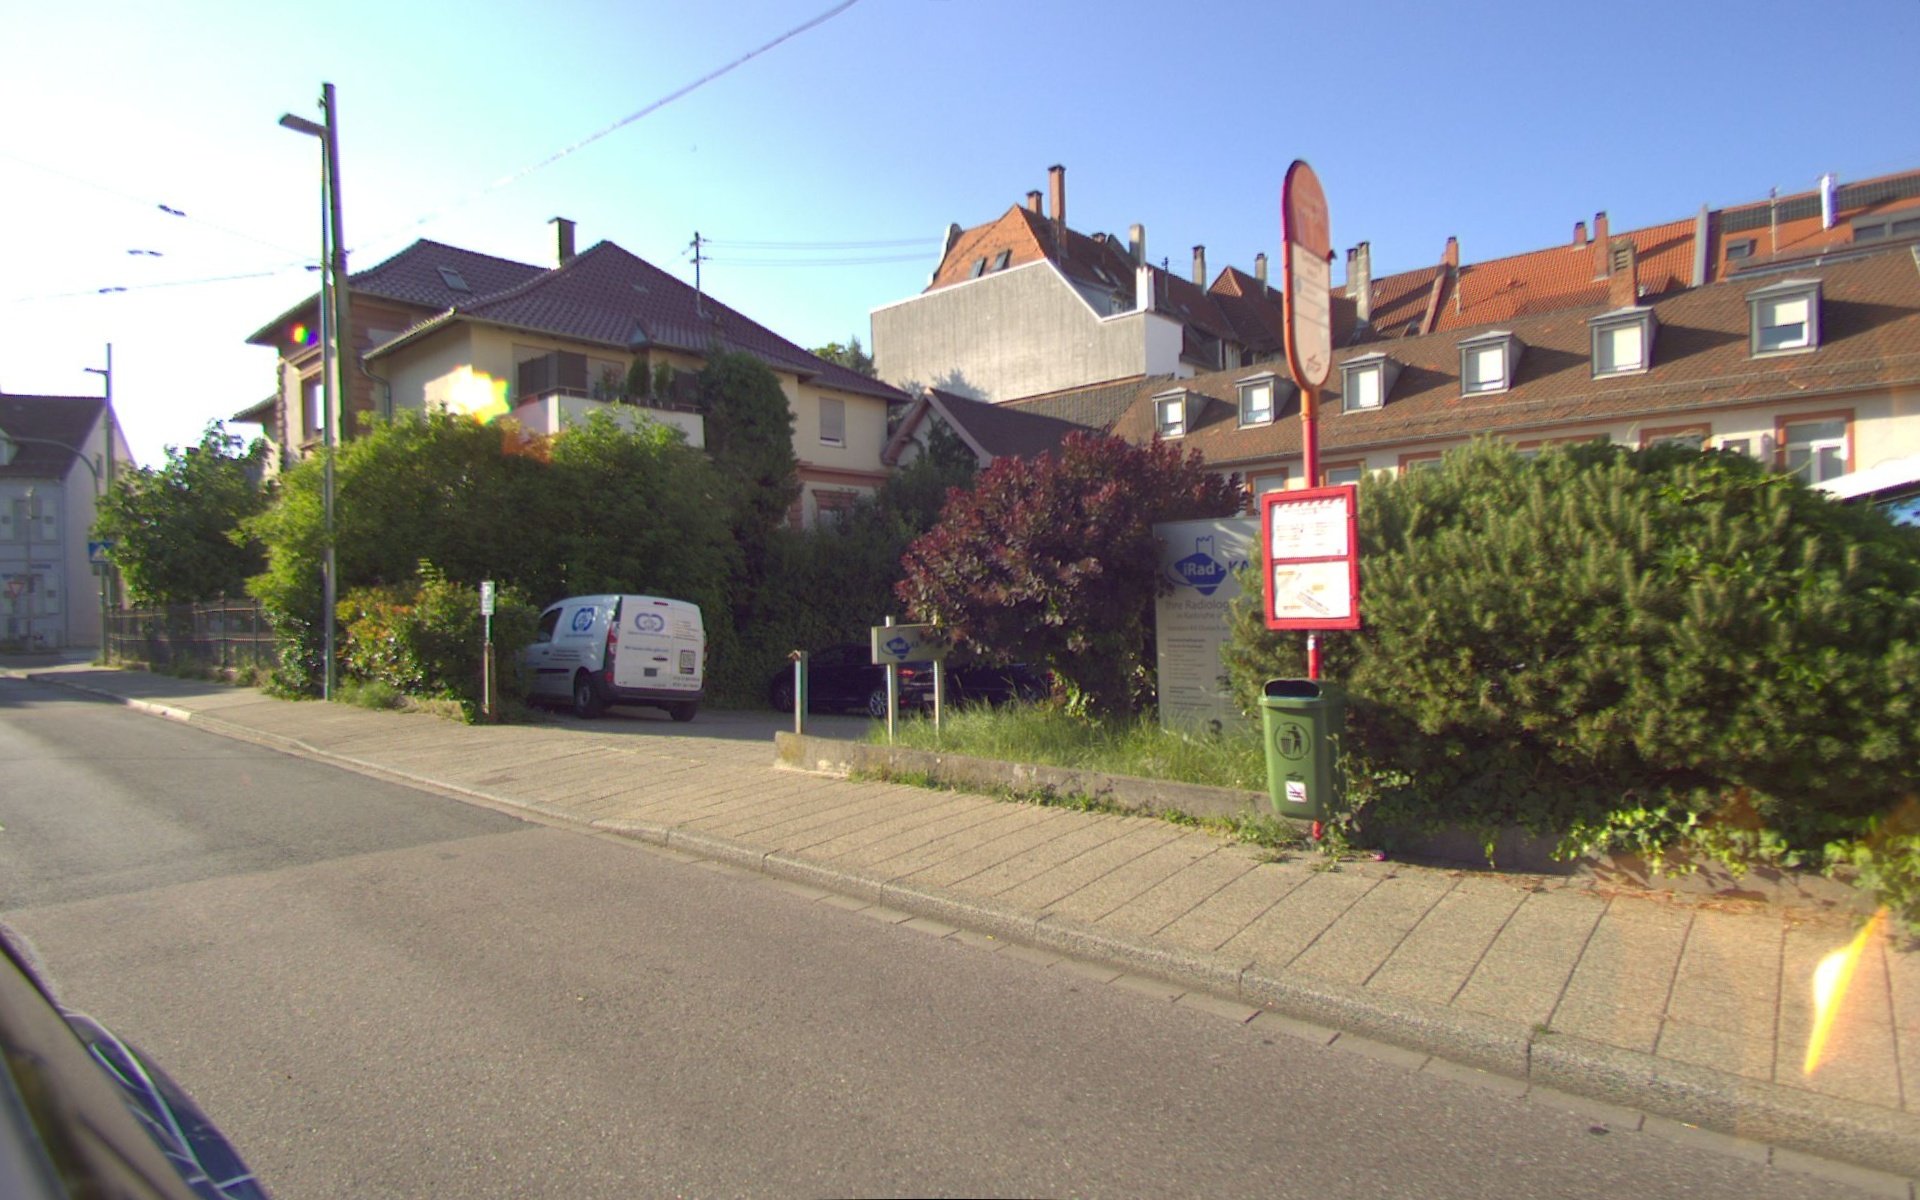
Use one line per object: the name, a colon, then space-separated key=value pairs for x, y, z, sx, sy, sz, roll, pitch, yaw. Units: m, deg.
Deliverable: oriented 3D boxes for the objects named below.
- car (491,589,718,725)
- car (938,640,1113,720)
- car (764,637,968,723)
car: x=-5.533 y=0.879 z=15.561 sx=3.671 sy=1.829 sz=1.682 roll=-2 pitch=-7 yaw=43
car: x=1.478 y=1.821 z=23.640 sx=3.794 sy=1.681 sz=1.820 roll=-2 pitch=-5 yaw=44
car: x=-1.900 y=1.518 z=20.047 sx=3.786 sy=1.529 sz=1.824 roll=-1 pitch=-4 yaw=37
